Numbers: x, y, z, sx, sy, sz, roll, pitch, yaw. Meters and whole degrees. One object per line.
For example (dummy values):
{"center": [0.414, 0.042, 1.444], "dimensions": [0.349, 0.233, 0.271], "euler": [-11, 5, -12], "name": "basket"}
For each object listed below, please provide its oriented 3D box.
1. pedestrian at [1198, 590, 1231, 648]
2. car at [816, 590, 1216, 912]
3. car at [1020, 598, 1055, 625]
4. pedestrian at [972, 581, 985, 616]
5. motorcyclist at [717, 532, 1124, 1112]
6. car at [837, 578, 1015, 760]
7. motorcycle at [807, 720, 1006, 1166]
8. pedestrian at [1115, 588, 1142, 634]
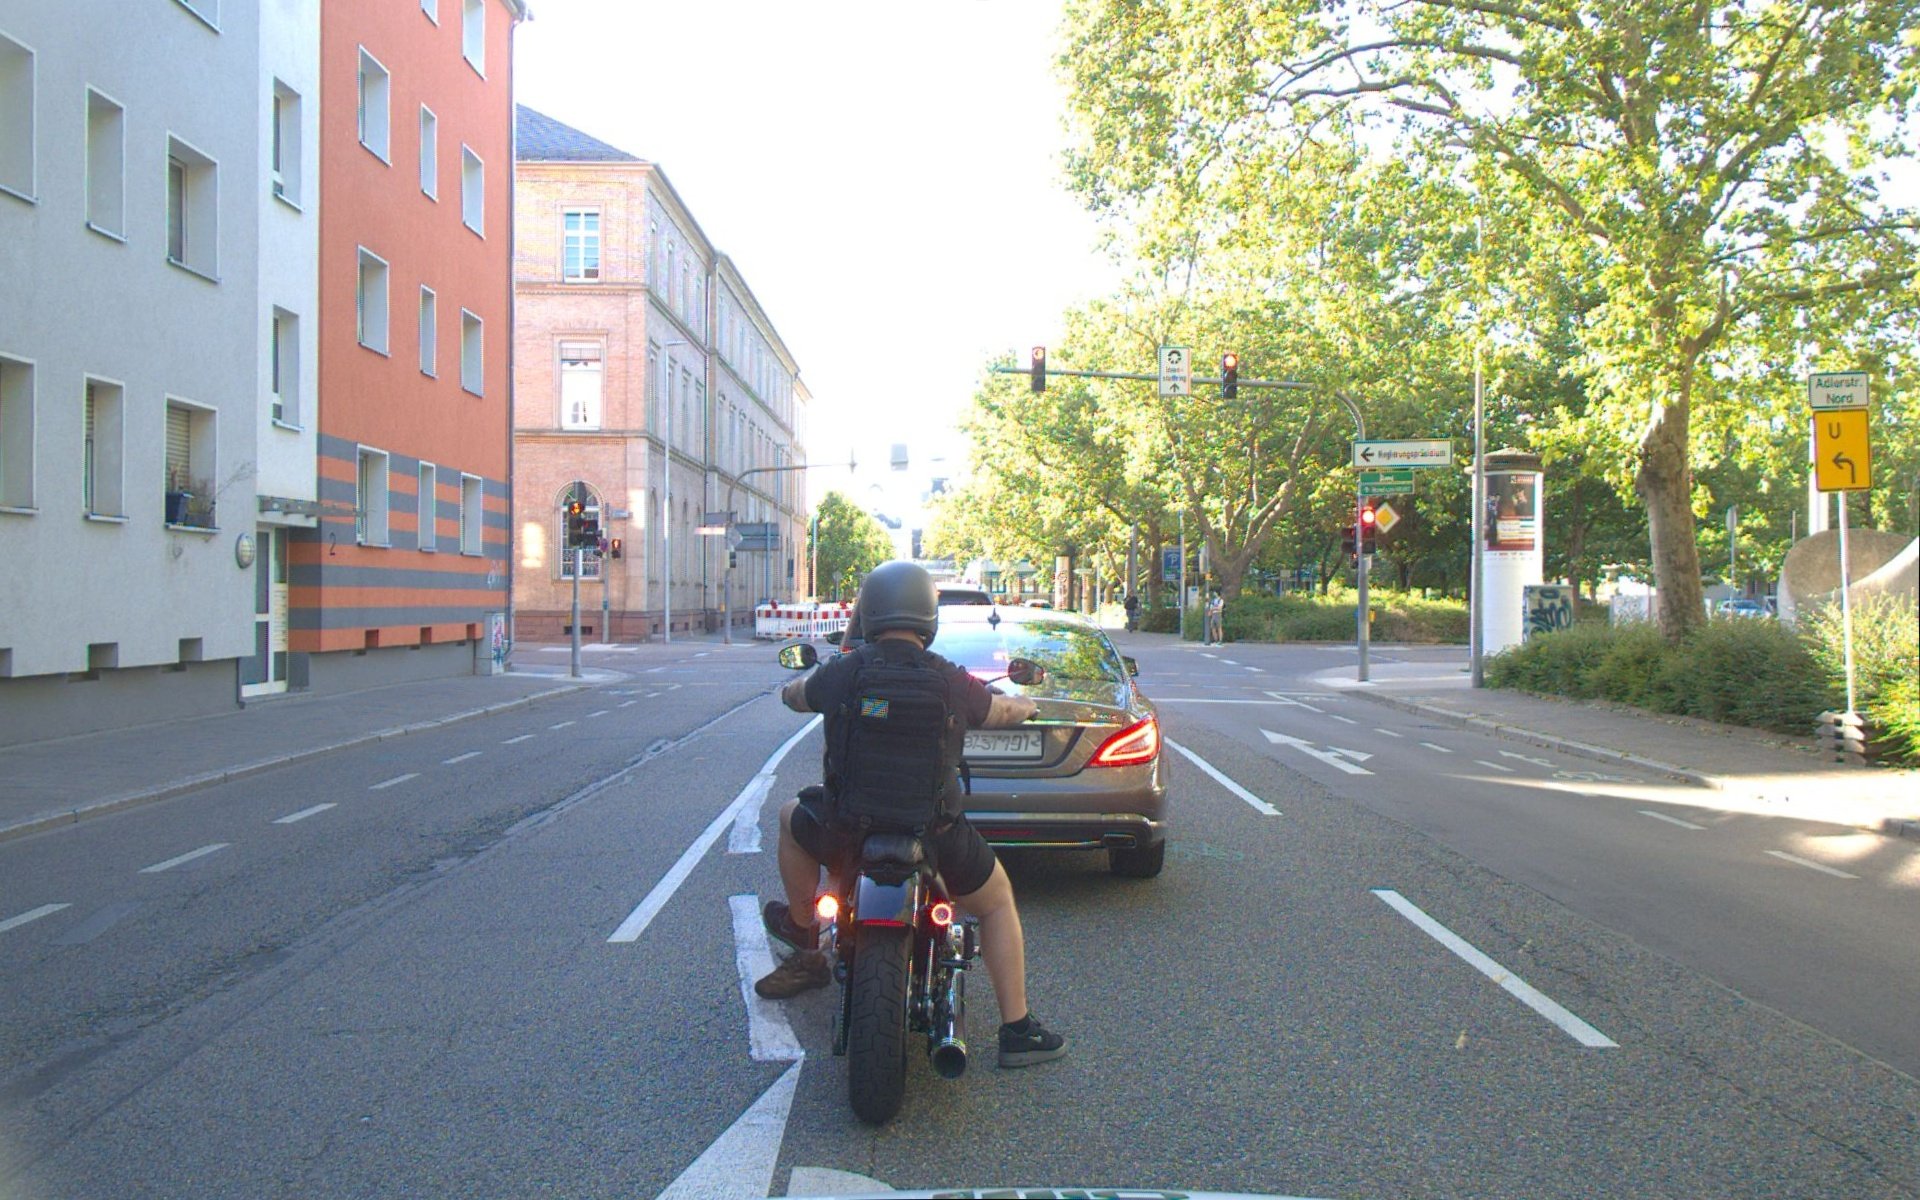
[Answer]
{"center": [8.246, 0.613, 53.653], "dimensions": [0.980, 1.858, 1.077], "euler": [1, 0, 5], "name": "pedestrian"}
{"center": [0.236, 0.694, 9.620], "dimensions": [1.844, 1.475, 3.819], "euler": [1, 0, -1], "name": "car"}
{"center": [4.335, 0.629, 92.789], "dimensions": [1.740, 1.453, 3.801], "euler": [0, 0, -1], "name": "car"}
{"center": [1.135, -0.093, 100.848], "dimensions": [0.748, 2.087, 0.712], "euler": [1, -1, -1], "name": "pedestrian"}
{"center": [-0.119, 0.632, 5.331], "dimensions": [1.125, 1.626, 1.288], "euler": [1, 0, -1], "name": "motorcyclist"}
{"center": [-0.330, 0.606, 16.729], "dimensions": [1.588, 1.622, 3.999], "euler": [0, 0, -1], "name": "car"}
{"center": [-0.154, 0.970, 5.329], "dimensions": [0.503, 1.020, 2.013], "euler": [1, 0, -1], "name": "motorcycle"}
{"center": [7.222, 0.468, 70.985], "dimensions": [0.741, 1.943, 0.917], "euler": [1, -1, -29], "name": "pedestrian"}
